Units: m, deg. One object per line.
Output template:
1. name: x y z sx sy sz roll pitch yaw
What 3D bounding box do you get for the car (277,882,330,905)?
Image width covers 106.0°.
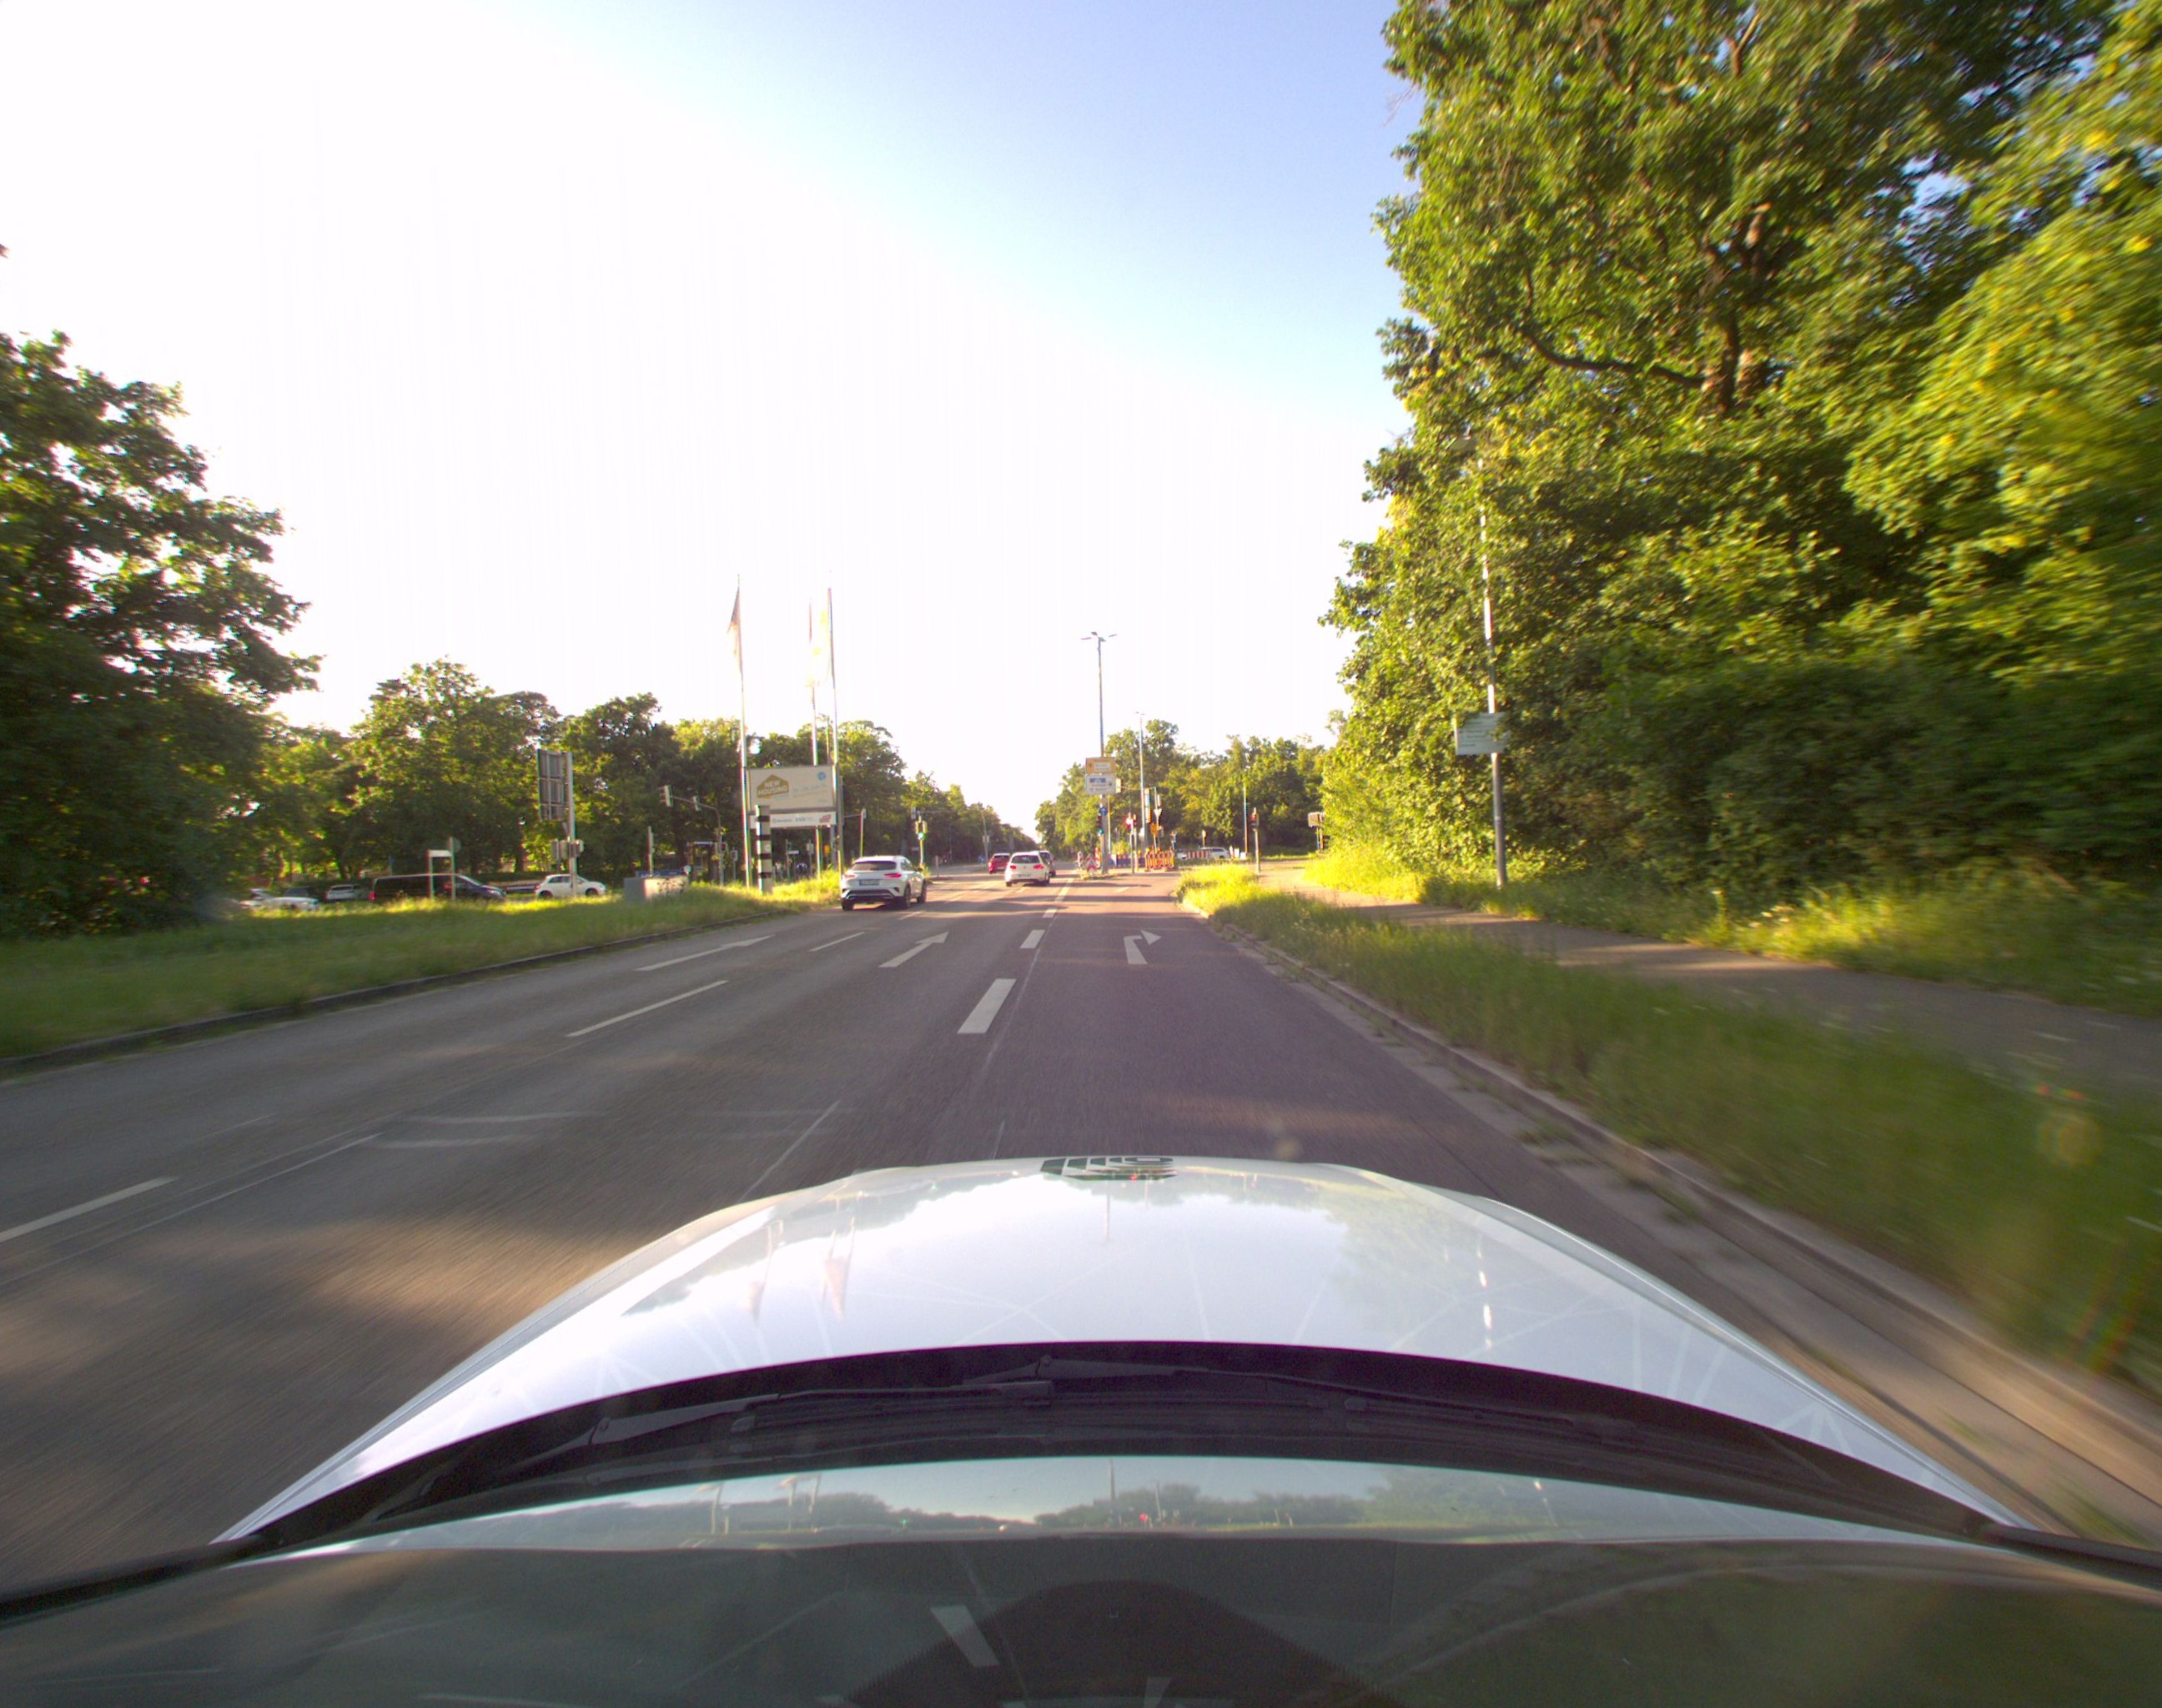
1. car: -60.871 3.060 63.831 1.816 1.599 3.475 -2 0 -22

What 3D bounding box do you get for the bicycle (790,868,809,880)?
1. bicycle: -22.520 1.608 65.108 0.711 0.914 1.913 -2 0 4

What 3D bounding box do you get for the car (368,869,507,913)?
1. car: -31.347 1.772 39.890 4.943 1.829 1.912 -3 0 -26

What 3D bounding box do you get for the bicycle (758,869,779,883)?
1. bicycle: -24.680 1.731 64.335 0.711 0.914 1.913 -2 1 4

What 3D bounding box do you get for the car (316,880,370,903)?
1. car: -58.351 2.921 64.464 1.816 1.599 4.165 -2 0 -22

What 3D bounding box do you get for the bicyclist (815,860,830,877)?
1. bicyclist: -20.657 1.132 65.103 0.712 1.339 0.991 -2 0 3

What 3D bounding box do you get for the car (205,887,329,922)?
1. car: -39.374 2.413 39.513 3.807 1.389 1.838 -3 0 -26

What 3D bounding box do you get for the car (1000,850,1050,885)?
1. car: -2.475 0.569 36.792 1.934 1.414 3.999 -2 0 -1

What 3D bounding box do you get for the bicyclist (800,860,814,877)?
1. bicyclist: -22.480 1.153 66.741 0.712 1.342 0.991 -2 0 3

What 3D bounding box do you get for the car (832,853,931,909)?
1. car: -5.693 0.719 23.758 1.857 1.444 4.000 -1 0 0

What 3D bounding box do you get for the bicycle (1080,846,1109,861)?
1. bicycle: 1.317 -0.053 78.747 2.649 1.383 0.959 -1 0 -32

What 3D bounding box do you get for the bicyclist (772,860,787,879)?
1. bicyclist: -23.801 1.221 64.229 0.707 1.389 0.991 -2 0 3

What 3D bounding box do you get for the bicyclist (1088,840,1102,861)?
1. bicyclist: 1.347 -0.349 78.779 1.020 1.929 0.959 -1 0 -32

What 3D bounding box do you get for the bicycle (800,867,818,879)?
1. bicycle: -22.434 1.590 67.200 0.711 0.914 1.913 -2 0 4

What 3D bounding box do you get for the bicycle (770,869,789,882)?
1. bicycle: -23.775 1.702 64.263 0.711 0.914 1.913 -2 0 4

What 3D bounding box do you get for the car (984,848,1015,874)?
1. car: -5.787 0.484 58.429 1.990 1.684 3.994 -2 0 -4

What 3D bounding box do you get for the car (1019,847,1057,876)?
1. car: -2.505 0.408 46.985 1.990 1.536 3.994 -2 0 -4

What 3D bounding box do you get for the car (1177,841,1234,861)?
1. car: 11.509 -0.269 75.327 4.837 1.580 1.985 -2 0 -22

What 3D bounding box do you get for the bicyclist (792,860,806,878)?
1. bicyclist: -22.536 1.174 65.104 0.712 1.355 0.991 -2 0 3

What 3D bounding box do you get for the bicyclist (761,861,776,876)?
1. bicyclist: -24.706 1.139 64.335 0.712 1.192 0.991 -2 0 3

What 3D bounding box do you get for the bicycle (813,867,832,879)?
1. bicycle: -20.648 1.526 65.044 0.711 0.914 1.913 -2 0 4

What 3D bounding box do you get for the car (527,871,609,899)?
1. car: -30.131 1.823 47.952 3.807 1.389 1.912 -3 0 -26
